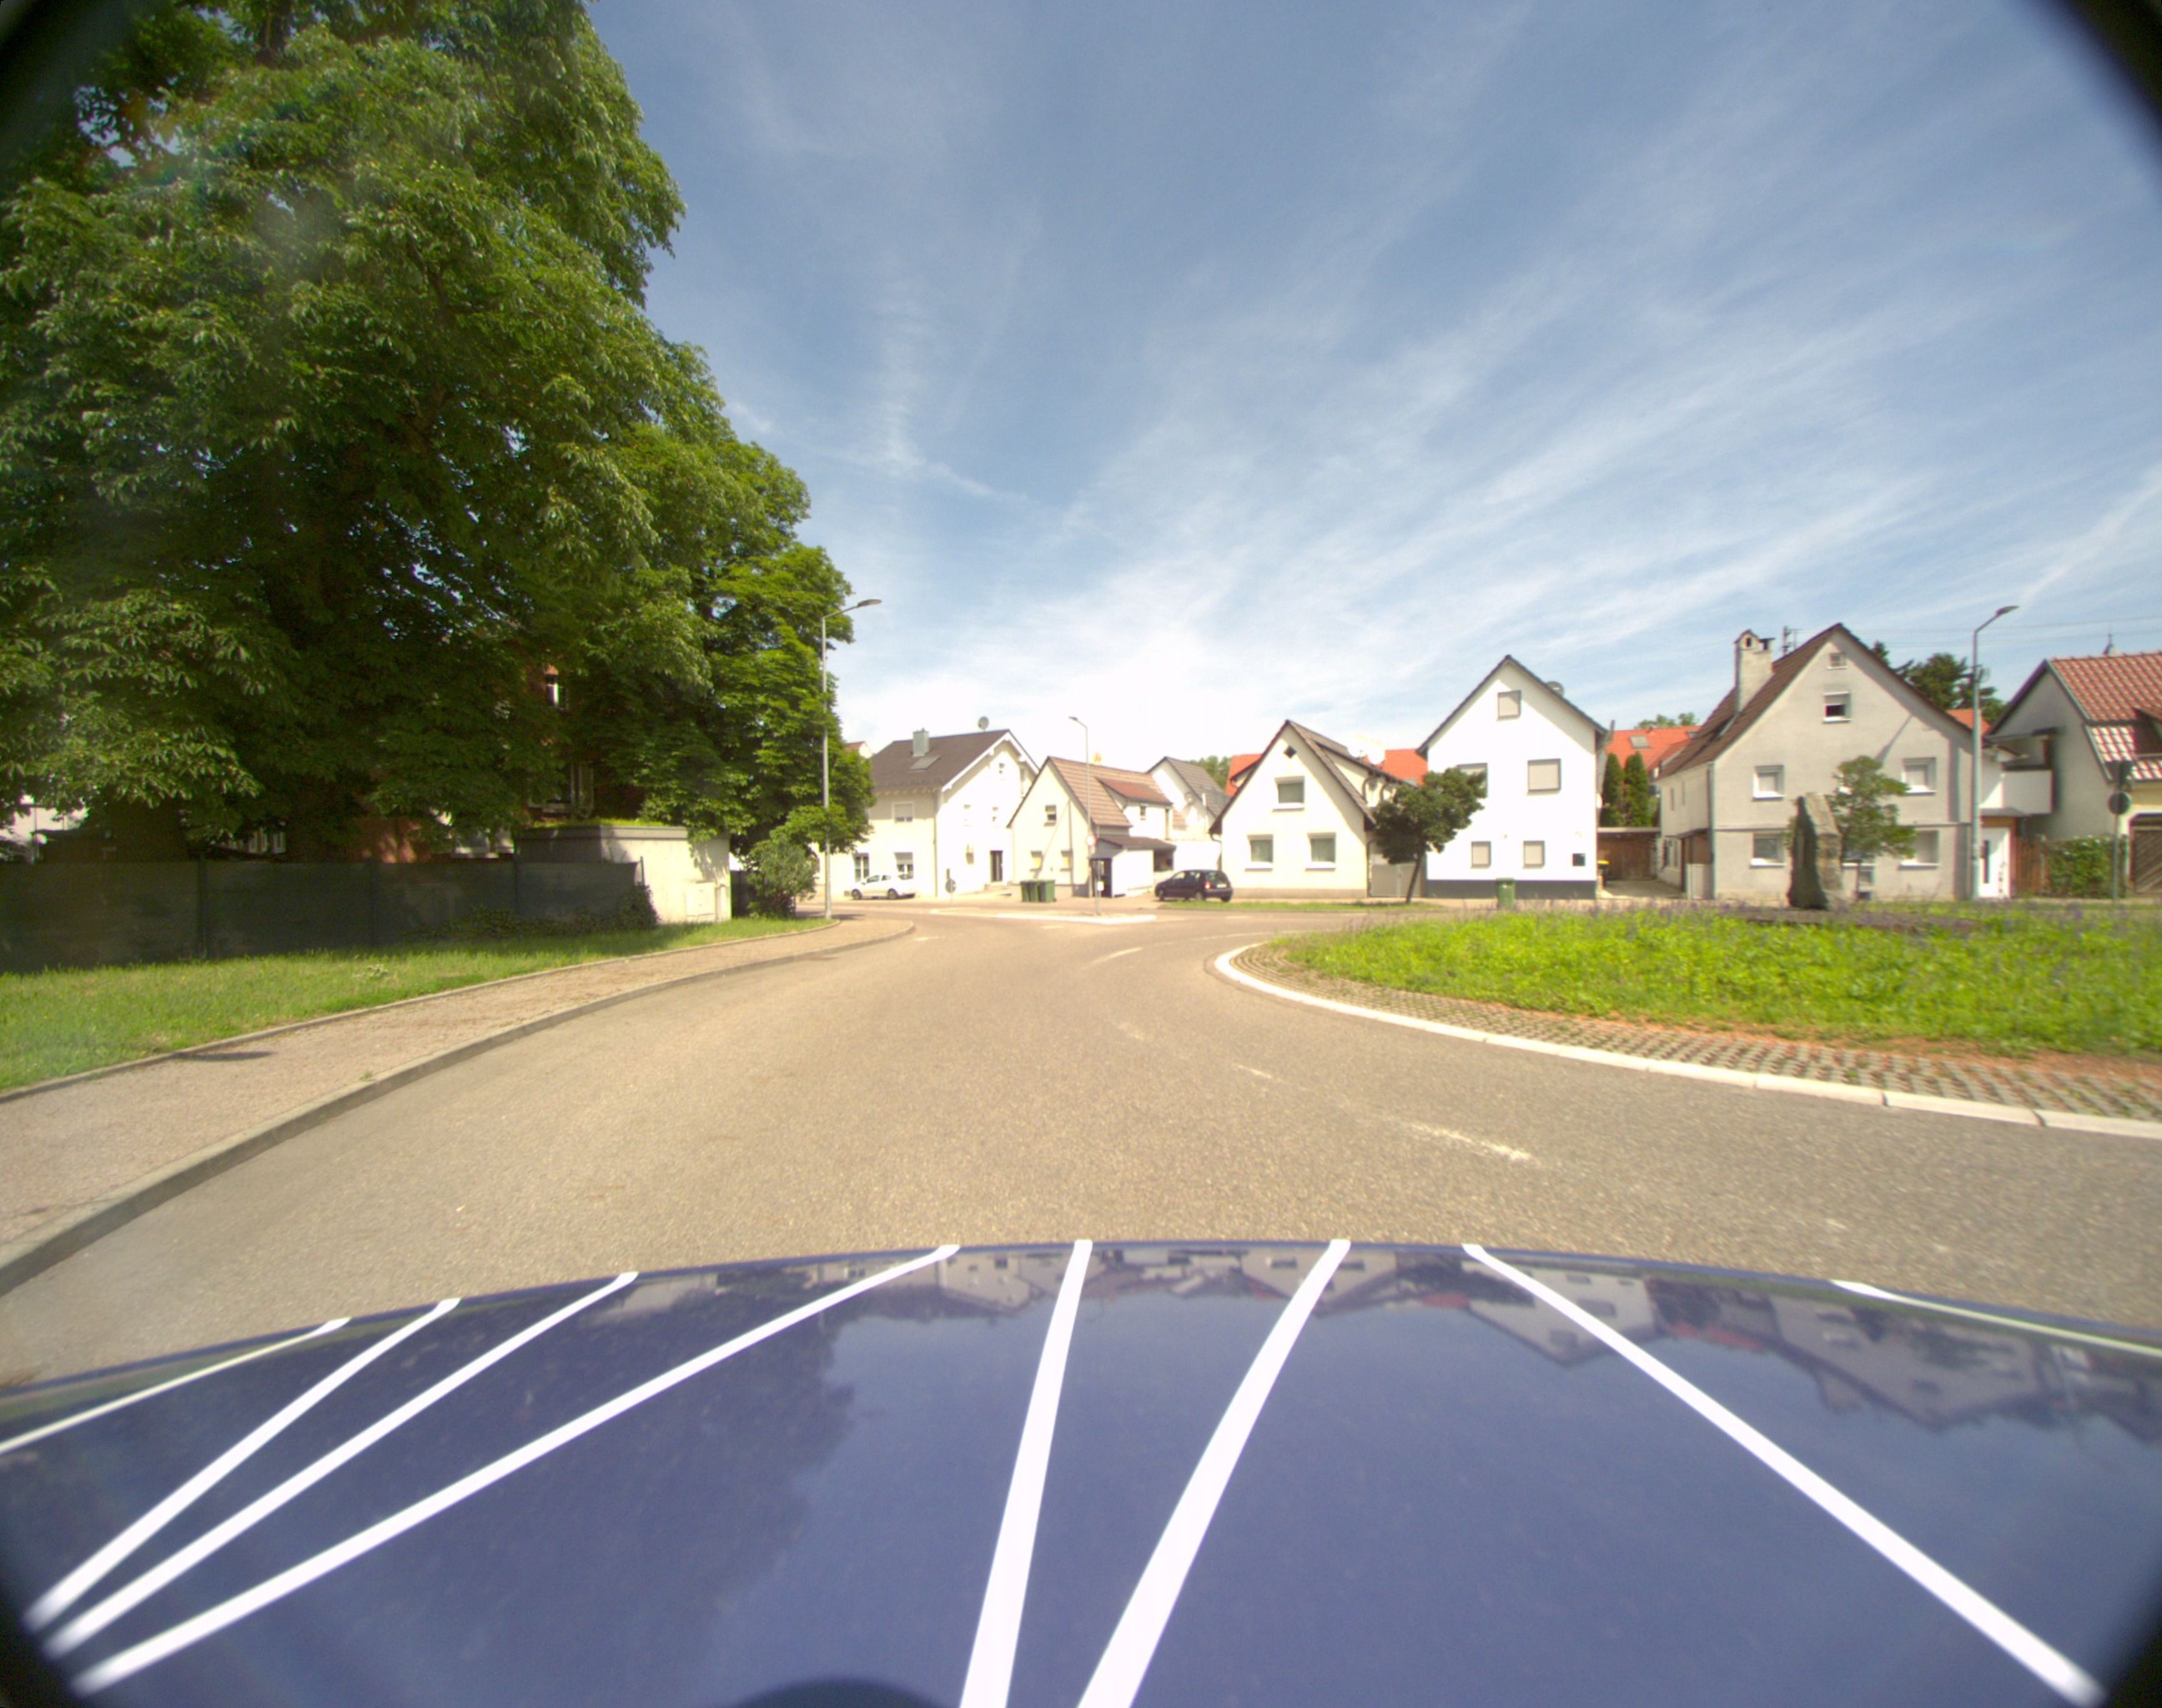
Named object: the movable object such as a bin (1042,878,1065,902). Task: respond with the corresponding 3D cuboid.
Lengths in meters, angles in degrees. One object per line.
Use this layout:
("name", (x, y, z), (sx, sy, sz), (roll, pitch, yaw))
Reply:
("movable object such as a bin", (-1.261, 1.648, 34.875), (0.723, 1.071, 0.684), (-1, 2, 41))

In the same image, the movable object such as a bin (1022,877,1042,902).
("movable object such as a bin", (-2.320, 1.669, 35.802), (0.630, 1.087, 0.644), (-1, 2, 41))

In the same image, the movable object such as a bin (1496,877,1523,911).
("movable object such as a bin", (13.556, 1.267, 24.045), (0.578, 1.042, 0.905), (-1, -1, 21))

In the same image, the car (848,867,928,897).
("car", (-10.689, 1.570, 42.168), (3.990, 1.494, 1.829), (-2, 2, 26))

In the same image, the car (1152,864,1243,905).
("car", (4.903, 1.239, 32.451), (1.781, 1.433, 3.837), (-4, 3, -31))

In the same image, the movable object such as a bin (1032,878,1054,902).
("movable object such as a bin", (-1.773, 1.668, 35.335), (0.631, 1.071, 0.734), (-1, 2, 41))
